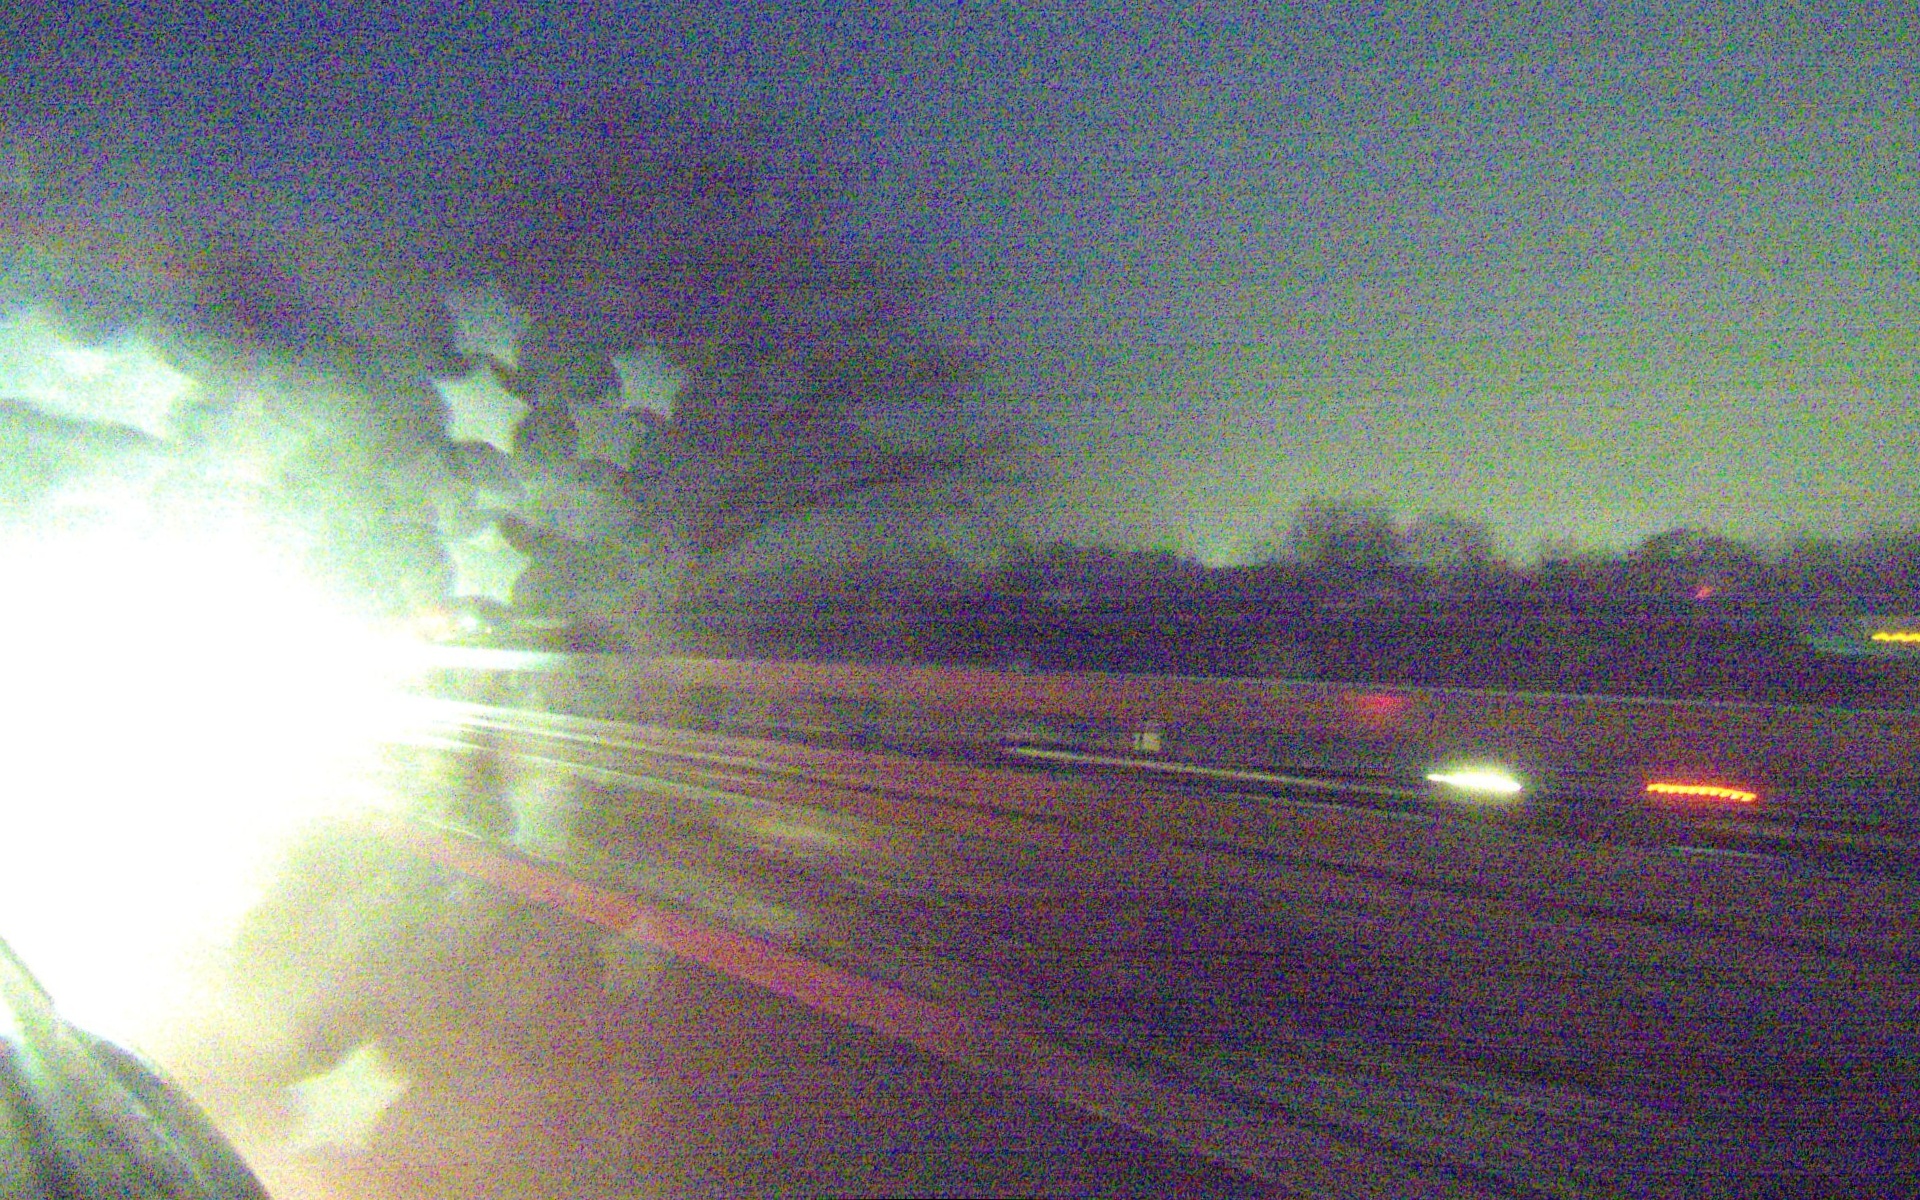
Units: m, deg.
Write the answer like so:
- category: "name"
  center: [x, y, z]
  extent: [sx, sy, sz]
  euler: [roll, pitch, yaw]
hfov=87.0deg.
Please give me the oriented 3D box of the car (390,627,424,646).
- category: "car"
  center: [-43.862, 2.882, 80.293]
  extent: [1.702, 1.409, 3.941]
  euler: [1, -1, -20]

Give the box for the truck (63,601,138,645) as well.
- category: "truck"
  center: [-90.346, 2.361, 106.487]
  extent: [5.467, 4.369, 2.548]
  euler: [-2, 1, -26]

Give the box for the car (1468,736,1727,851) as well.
- category: "car"
  center: [12.077, 3.619, 19.441]
  extent: [4.030, 1.501, 1.746]
  euler: [1, -1, 31]

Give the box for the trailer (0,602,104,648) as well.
- category: "trailer"
  center: [-96.590, 2.574, 103.446]
  extent: [13.473, 4.369, 2.548]
  euler: [-2, 1, -26]
